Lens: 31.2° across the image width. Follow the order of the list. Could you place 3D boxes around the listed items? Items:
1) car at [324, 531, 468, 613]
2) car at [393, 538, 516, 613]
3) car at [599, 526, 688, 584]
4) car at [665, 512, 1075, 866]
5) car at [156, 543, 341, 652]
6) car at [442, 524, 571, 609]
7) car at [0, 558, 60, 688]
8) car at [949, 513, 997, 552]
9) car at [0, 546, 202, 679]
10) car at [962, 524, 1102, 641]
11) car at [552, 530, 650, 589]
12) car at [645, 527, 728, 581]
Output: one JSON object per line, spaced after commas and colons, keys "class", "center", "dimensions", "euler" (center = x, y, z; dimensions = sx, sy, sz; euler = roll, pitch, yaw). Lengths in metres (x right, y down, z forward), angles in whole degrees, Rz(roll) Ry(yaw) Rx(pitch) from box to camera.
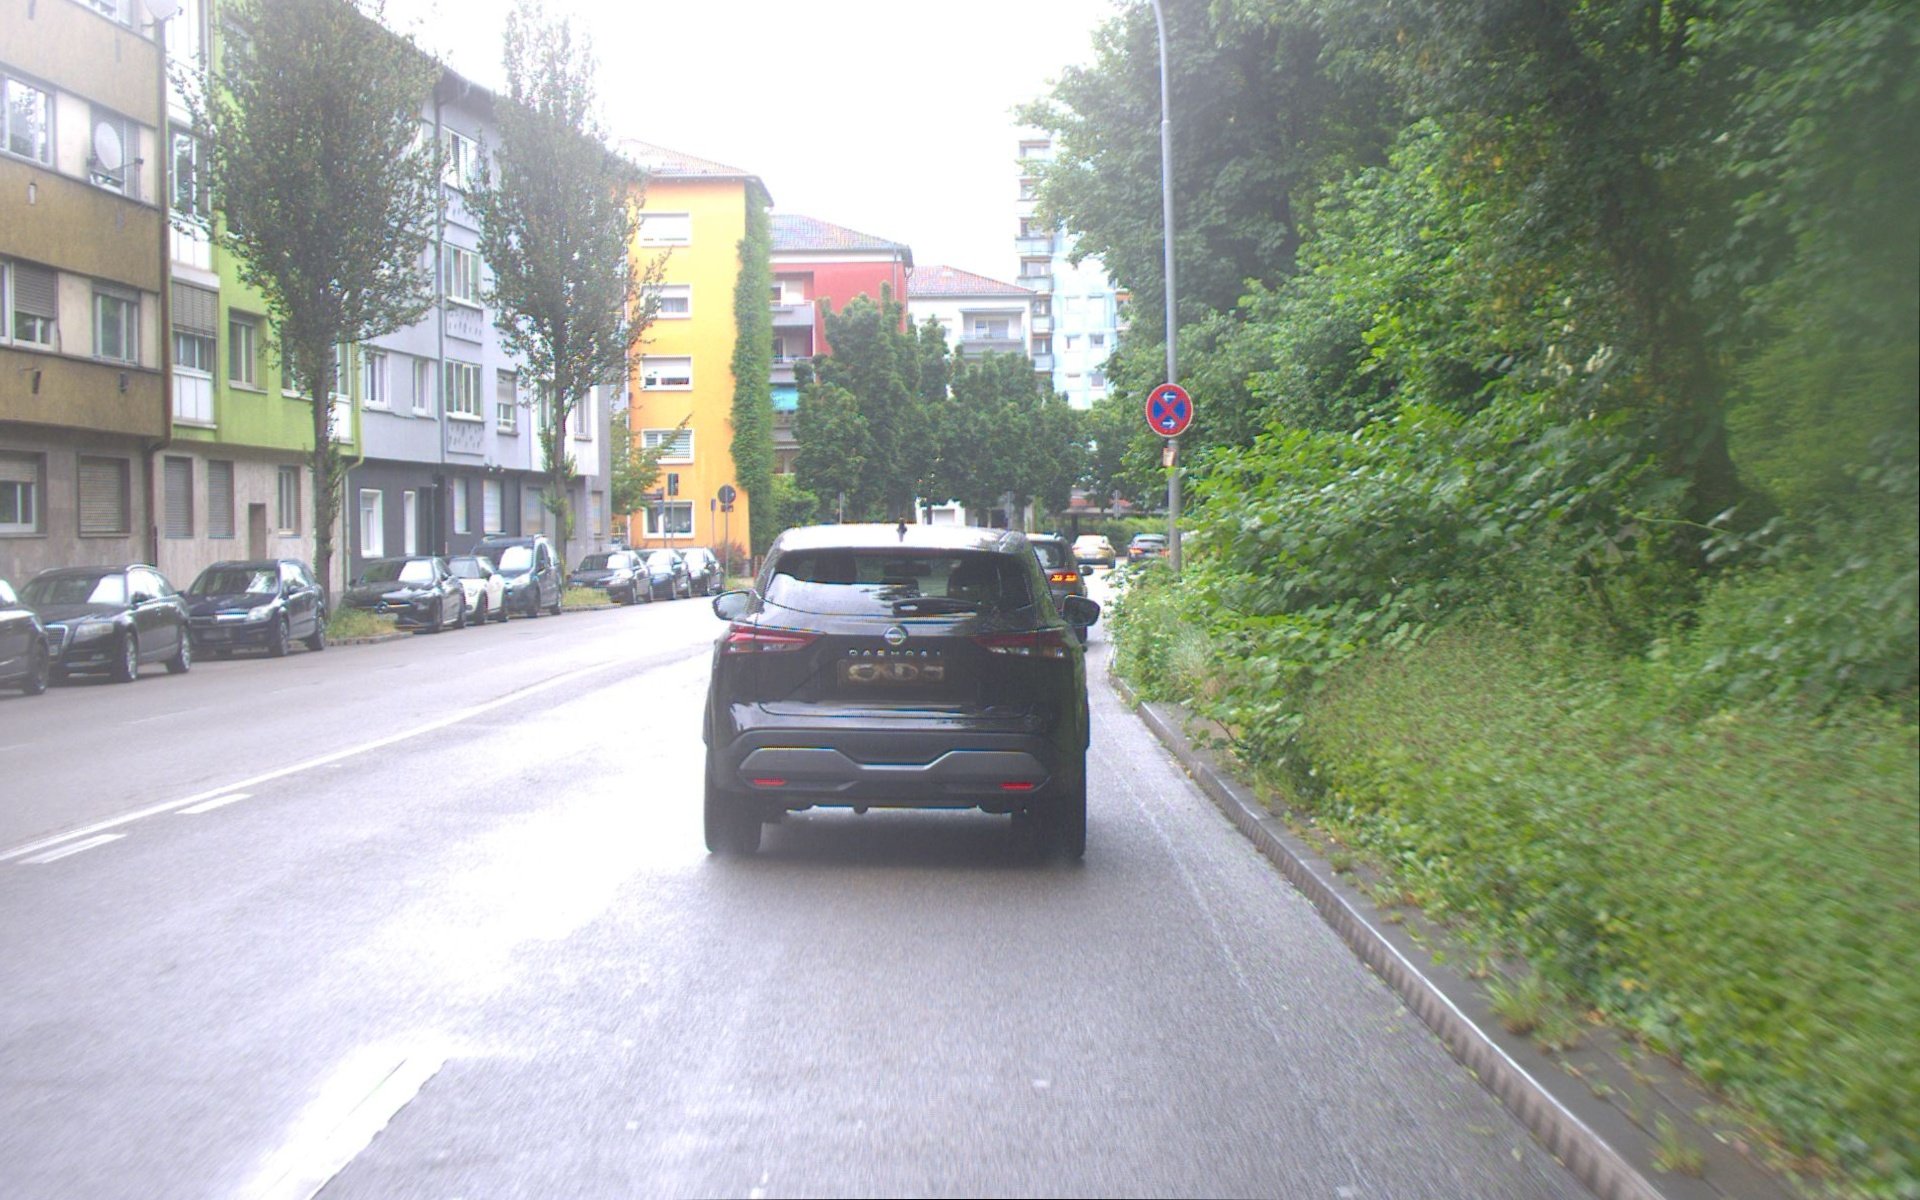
{"class": "car", "center": [-10.541, -0.547, 64.523], "dimensions": [1.817, 1.367, 4.681], "euler": [-2, 2, 1]}
{"class": "car", "center": [-10.281, -0.522, 70.180], "dimensions": [1.680, 1.371, 4.000], "euler": [-3, 1, 3]}
{"class": "car", "center": [-8.709, -1.254, 94.957], "dimensions": [1.681, 1.444, 4.275], "euler": [-3, 1, 4]}
{"class": "car", "center": [-0.419, 0.352, 17.556], "dimensions": [1.845, 1.577, 4.000], "euler": [1, 2, 0]}
{"class": "car", "center": [-10.884, -0.075, 52.900], "dimensions": [1.718, 1.483, 4.515], "euler": [-2, 2, 2]}
{"class": "car", "center": [-9.964, -0.768, 75.870], "dimensions": [1.891, 1.760, 4.600], "euler": [-2, 1, 4]}
{"class": "car", "center": [-11.295, 0.286, 37.792], "dimensions": [1.626, 1.382, 3.988], "euler": [-2, 2, 2]}
{"class": "car", "center": [0.524, -2.671, 136.357], "dimensions": [1.706, 1.473, 3.680], "euler": [-1, 1, 3]}
{"class": "car", "center": [-11.096, 0.119, 43.607], "dimensions": [1.817, 1.483, 4.790], "euler": [-2, 2, 0]}
{"class": "car", "center": [1.131, -0.297, 52.301], "dimensions": [1.887, 1.705, 4.000], "euler": [0, 1, 5]}
{"class": "car", "center": [-9.256, -1.065, 88.995], "dimensions": [1.688, 1.353, 4.579], "euler": [-4, 1, 4]}
{"class": "car", "center": [-7.979, -1.353, 100.571], "dimensions": [1.713, 1.420, 4.322], "euler": [-3, 1, 5]}
